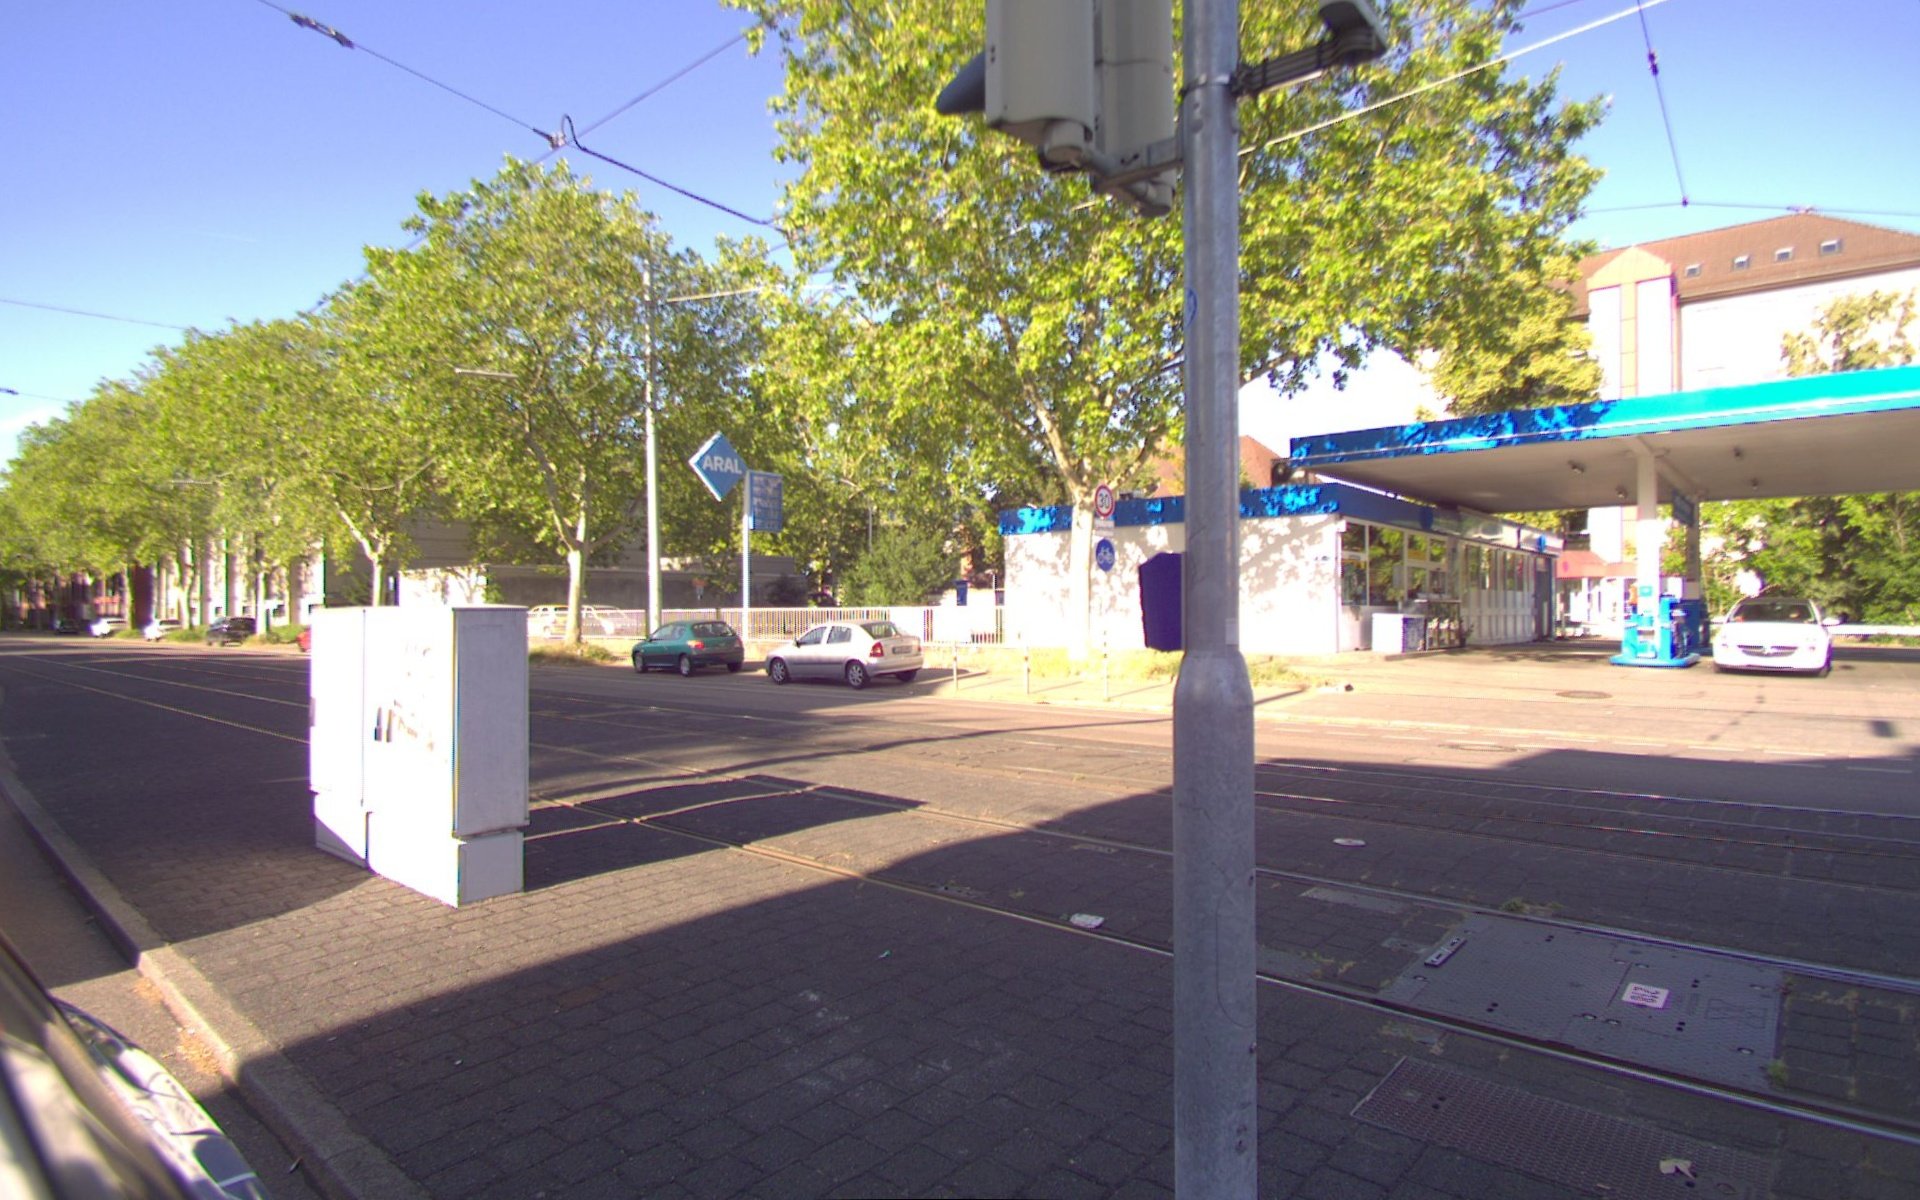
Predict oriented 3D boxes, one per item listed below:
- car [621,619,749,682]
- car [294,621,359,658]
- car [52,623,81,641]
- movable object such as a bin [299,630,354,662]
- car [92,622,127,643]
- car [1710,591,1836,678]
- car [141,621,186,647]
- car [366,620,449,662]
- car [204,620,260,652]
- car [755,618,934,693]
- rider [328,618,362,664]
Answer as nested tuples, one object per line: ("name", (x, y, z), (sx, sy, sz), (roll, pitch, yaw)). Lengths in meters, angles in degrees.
("car", (-7.369, 1.295, 26.997), (3.606, 1.455, 1.598), (-1, 2, 43))
("car", (-28.854, 1.773, 46.075), (3.377, 1.506, 1.639), (-1, 2, 43))
("car", (-85.038, 3.020, 96.320), (3.731, 1.471, 1.639), (-1, 2, 43))
("movable object such as a bin", (-24.067, 1.735, 38.454), (1.831, 1.111, 1.164), (-1, 0, 36))
("car", (-66.768, 2.506, 79.426), (3.731, 1.471, 1.639), (-1, 2, 43))
("car", (15.885, 0.601, 19.701), (1.743, 1.446, 3.882), (-1, 1, 41))
("car", (-53.703, 2.291, 68.234), (3.878, 1.552, 1.731), (-1, 2, 43))
("car", (-21.751, 1.568, 39.809), (3.769, 1.455, 1.701), (-1, 2, 43))
("car", (-40.688, 1.986, 56.535), (3.878, 1.603, 1.731), (-1, 2, 43))
("car", (-2.630, 1.188, 22.589), (3.987, 1.376, 1.666), (-2, 3, 41))
("rider", (-22.867, 1.515, 37.606), (1.104, 1.660, 0.717), (-1, 0, 36))
